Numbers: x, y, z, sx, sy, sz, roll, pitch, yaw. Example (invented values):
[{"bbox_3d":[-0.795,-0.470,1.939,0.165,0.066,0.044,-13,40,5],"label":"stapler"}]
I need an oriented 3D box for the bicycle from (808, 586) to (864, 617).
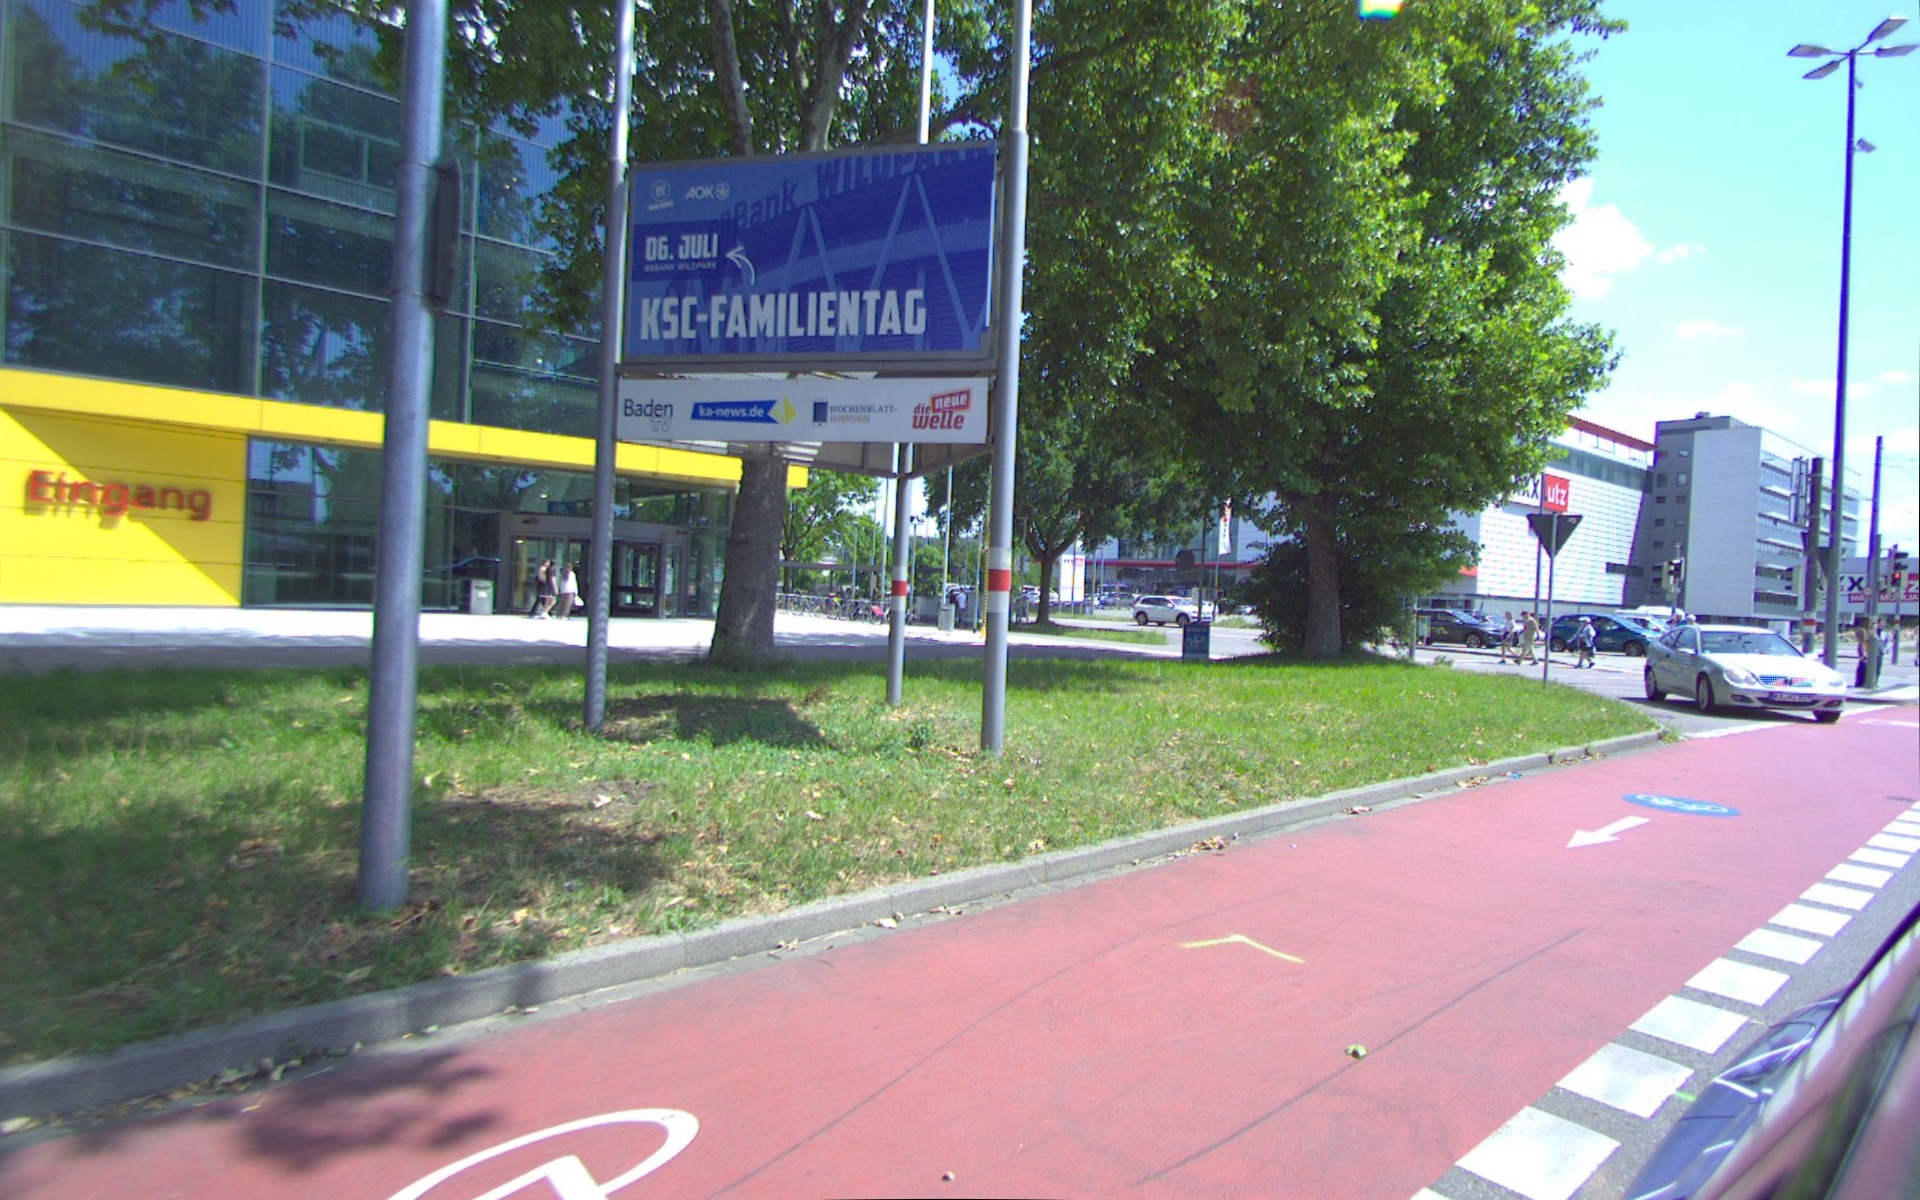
[{"bbox_3d":[-5.072,0.081,41.428,0.798,1.214,2.400,2,0,37],"label":"bicycle"}]

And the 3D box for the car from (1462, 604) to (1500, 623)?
[{"bbox_3d":[57.631,1.512,111.915,4.435,1.946,1.999,1,0,-37],"label":"car"}]

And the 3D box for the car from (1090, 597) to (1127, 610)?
[{"bbox_3d":[17.572,0.383,119.871,4.175,1.430,1.861,1,0,-36],"label":"car"}]

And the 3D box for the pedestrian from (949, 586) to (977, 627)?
[{"bbox_3d":[0.133,0.255,40.778,0.623,1.606,0.918,2,0,-44],"label":"pedestrian"}]

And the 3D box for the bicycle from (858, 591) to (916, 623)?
[{"bbox_3d":[-2.739,0.264,38.462,0.798,1.159,2.400,2,0,37],"label":"bicycle"}]

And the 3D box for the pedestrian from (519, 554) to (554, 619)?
[{"bbox_3d":[-11.781,-0.385,28.154,0.727,1.757,0.783,2,0,-34],"label":"pedestrian"}]

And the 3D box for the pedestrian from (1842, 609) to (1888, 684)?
[{"bbox_3d":[21.138,1.064,23.644,0.614,1.704,0.724,2,0,-43],"label":"pedestrian"}]

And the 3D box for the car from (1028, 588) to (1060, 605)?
[{"bbox_3d":[10.687,-0.433,128.687,3.926,2.039,1.545,1,0,-37],"label":"car"}]

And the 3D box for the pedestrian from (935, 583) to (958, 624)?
[{"bbox_3d":[-0.551,0.150,40.546,0.623,1.606,0.610,2,0,-44],"label":"pedestrian"}]

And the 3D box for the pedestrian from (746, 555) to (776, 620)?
[{"bbox_3d":[-6.445,-0.402,32.742,0.719,2.039,0.799,2,0,4],"label":"pedestrian"}]

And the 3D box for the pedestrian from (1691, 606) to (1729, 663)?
[{"bbox_3d":[22.311,1.016,30.110,0.846,1.658,0.608,0,0,-29],"label":"pedestrian"}]

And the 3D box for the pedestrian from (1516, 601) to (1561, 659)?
[{"bbox_3d":[17.279,0.901,30.223,0.834,1.680,0.799,2,0,-22],"label":"pedestrian"}]

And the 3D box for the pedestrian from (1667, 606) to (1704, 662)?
[{"bbox_3d":[21.969,1.009,30.631,0.846,1.658,0.605,0,0,-29],"label":"pedestrian"}]

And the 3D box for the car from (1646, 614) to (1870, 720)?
[{"bbox_3d":[12.973,0.992,16.775,1.712,1.436,4.290,1,0,21],"label":"car"}]

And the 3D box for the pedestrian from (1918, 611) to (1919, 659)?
[{"bbox_3d":[32.332,1.179,33.691,0.600,1.600,0.529,2,0,-35],"label":"pedestrian"}]

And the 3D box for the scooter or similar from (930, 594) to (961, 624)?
[{"bbox_3d":[-0.593,0.369,41.532,0.715,1.213,1.076,2,0,-41],"label":"scooter or similar"}]

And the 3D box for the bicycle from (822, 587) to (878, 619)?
[{"bbox_3d":[-4.406,0.138,40.890,0.798,1.214,2.400,2,0,37],"label":"bicycle"}]

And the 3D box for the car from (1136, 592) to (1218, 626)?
[{"bbox_3d":[11.874,0.467,55.651,1.963,1.660,4.080,1,1,-37],"label":"car"}]

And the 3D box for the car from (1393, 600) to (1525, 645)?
[{"bbox_3d":[20.036,0.945,40.730,1.820,1.462,4.407,11,-9,-39],"label":"car"}]

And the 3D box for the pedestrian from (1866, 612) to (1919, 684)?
[{"bbox_3d":[21.994,1.117,23.844,0.754,1.626,0.895,2,0,-43],"label":"pedestrian"}]

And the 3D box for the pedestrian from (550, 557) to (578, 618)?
[{"bbox_3d":[-11.177,-0.349,28.532,0.575,1.693,0.608,2,0,-35],"label":"pedestrian"}]

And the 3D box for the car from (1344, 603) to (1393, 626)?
[{"bbox_3d":[38.137,1.352,94.475,4.872,2.039,1.999,1,0,-37],"label":"car"}]

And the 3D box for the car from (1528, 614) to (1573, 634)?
[{"bbox_3d":[53.284,2.139,91.293,4.419,1.739,1.999,1,0,-37],"label":"car"}]

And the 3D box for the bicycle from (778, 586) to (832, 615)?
[{"bbox_3d":[-6.694,0.041,43.744,0.798,1.214,2.400,2,0,37],"label":"bicycle"}]

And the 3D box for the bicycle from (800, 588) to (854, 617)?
[{"bbox_3d":[-5.626,0.114,43.012,0.798,1.214,2.400,2,0,37],"label":"bicycle"}]

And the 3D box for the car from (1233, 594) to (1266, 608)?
[{"bbox_3d":[33.391,0.117,116.769,3.927,1.546,1.693,1,0,-38],"label":"car"}]

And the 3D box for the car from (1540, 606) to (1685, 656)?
[{"bbox_3d":[23.601,1.065,36.708,1.962,1.575,4.000,-2,2,-35],"label":"car"}]

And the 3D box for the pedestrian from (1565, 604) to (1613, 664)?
[{"bbox_3d":[18.273,0.974,29.392,0.834,1.680,0.799,2,0,-18],"label":"pedestrian"}]

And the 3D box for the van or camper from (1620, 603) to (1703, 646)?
[{"bbox_3d":[51.579,1.739,74.352,7.469,2.983,2.717,1,0,-36],"label":"van or camper"}]

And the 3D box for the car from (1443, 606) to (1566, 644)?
[{"bbox_3d":[22.864,1.025,42.648,1.768,1.415,4.237,2,0,-31],"label":"car"}]

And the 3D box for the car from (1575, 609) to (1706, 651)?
[{"bbox_3d":[26.007,1.123,38.766,1.771,1.414,3.833,2,0,-39],"label":"car"}]

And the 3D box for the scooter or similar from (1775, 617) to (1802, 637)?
[{"bbox_3d":[47.976,1.564,58.593,1.253,1.140,0.481,-2,0,-10],"label":"scooter or similar"}]

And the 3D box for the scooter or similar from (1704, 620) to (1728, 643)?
[{"bbox_3d":[42.868,1.779,57.397,1.252,1.307,0.481,1,0,-20],"label":"scooter or similar"}]

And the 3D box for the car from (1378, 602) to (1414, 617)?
[{"bbox_3d":[51.393,1.107,119.263,4.438,1.714,1.998,1,0,-39],"label":"car"}]

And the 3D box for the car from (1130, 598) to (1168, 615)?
[{"bbox_3d":[21.802,0.756,116.680,4.091,1.723,1.855,2,0,-36],"label":"car"}]

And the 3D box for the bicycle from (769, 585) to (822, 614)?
[{"bbox_3d":[-7.267,-0.022,44.706,0.798,1.214,2.400,2,0,37],"label":"bicycle"}]

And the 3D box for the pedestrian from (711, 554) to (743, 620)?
[{"bbox_3d":[-7.417,-0.414,32.219,0.720,2.039,0.798,2,0,7],"label":"pedestrian"}]

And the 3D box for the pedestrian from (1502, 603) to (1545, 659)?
[{"bbox_3d":[17.334,0.939,31.134,0.834,1.680,0.799,2,0,-22],"label":"pedestrian"}]
